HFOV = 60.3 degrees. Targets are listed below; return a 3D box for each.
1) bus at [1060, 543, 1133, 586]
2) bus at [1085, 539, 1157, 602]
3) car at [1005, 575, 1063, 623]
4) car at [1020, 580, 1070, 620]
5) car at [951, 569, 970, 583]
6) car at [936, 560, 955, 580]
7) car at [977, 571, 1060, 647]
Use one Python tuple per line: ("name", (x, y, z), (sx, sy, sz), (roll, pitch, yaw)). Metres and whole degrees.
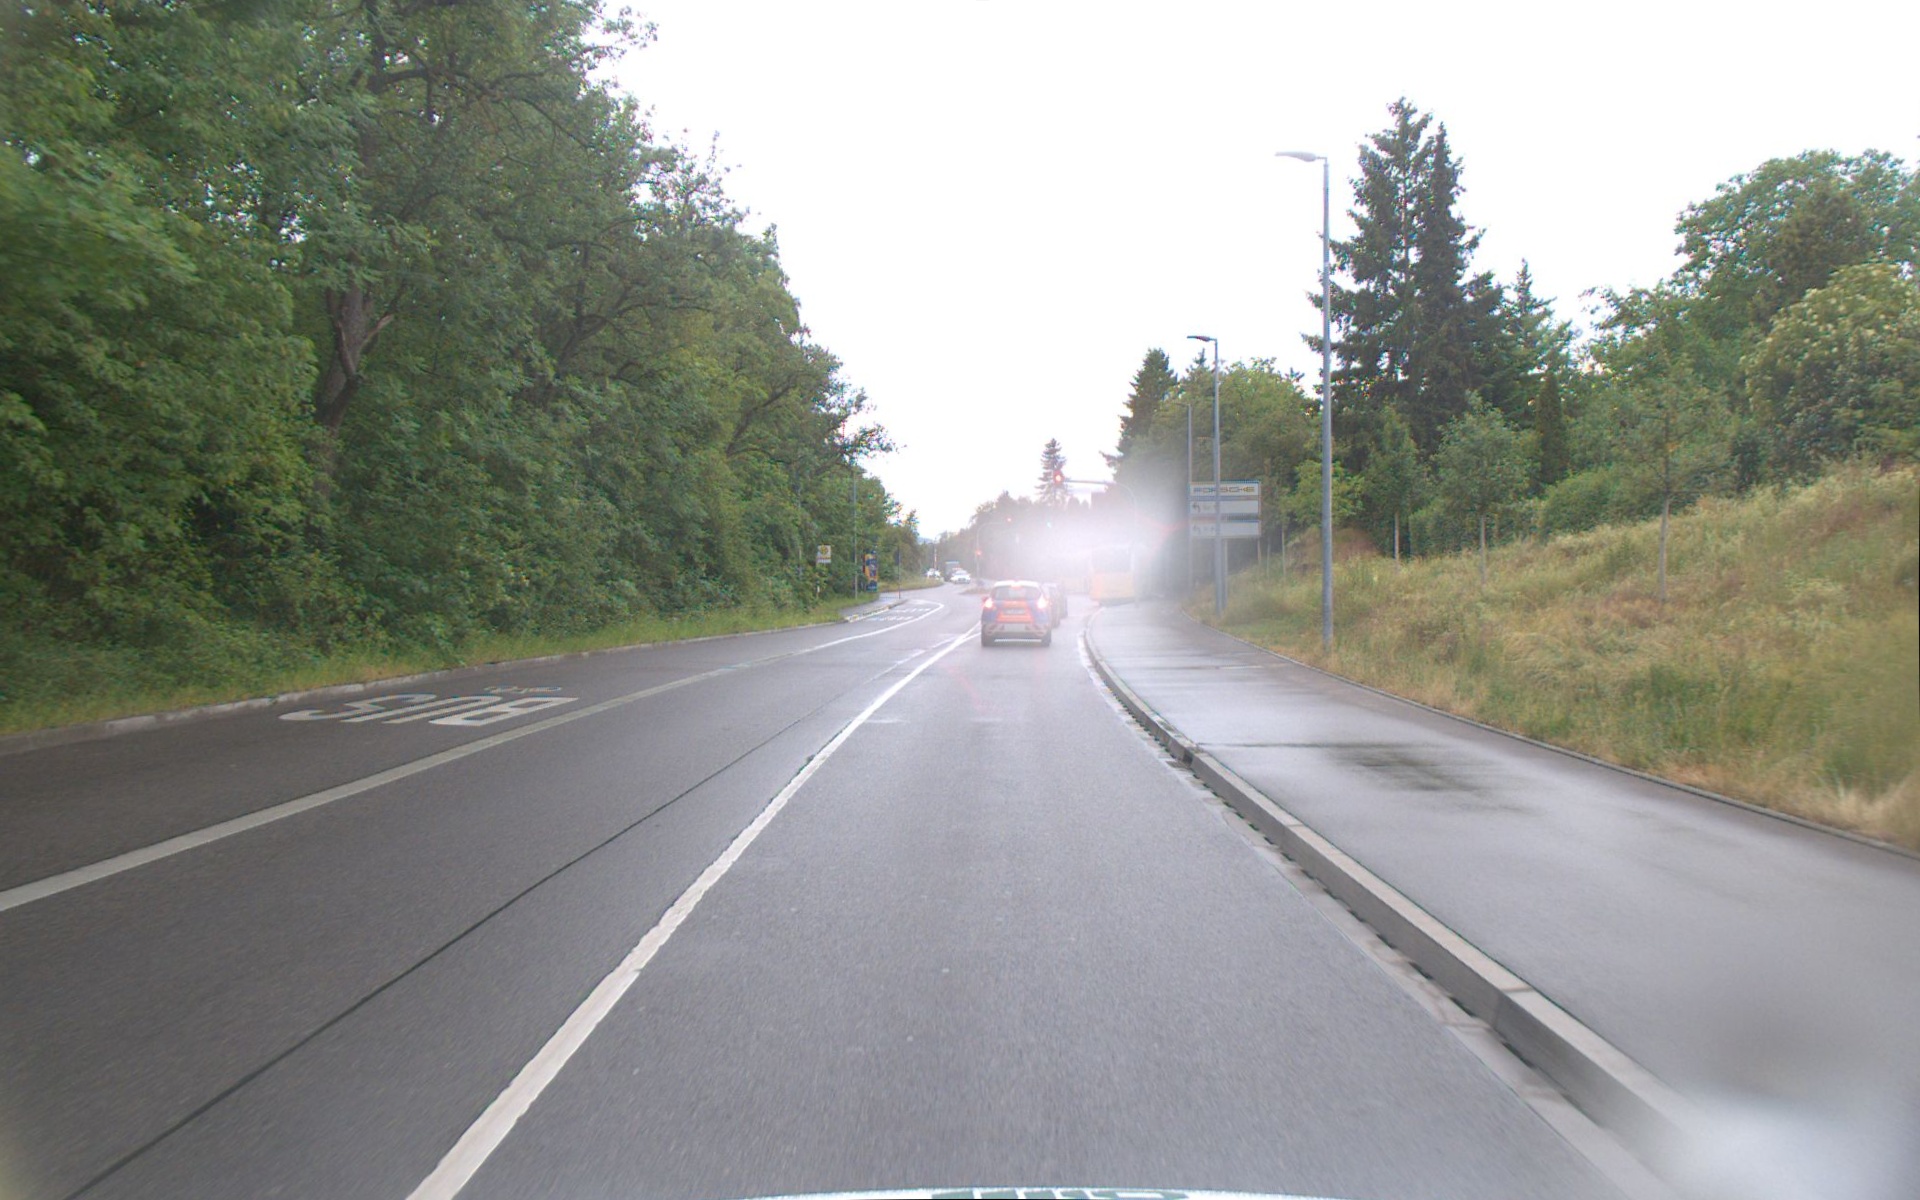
("bus", (9.770, -2.500, 119.728), (2.765, 2.855, 10.615), (0, 0, -10))
("bus", (8.730, -1.519, 88.836), (2.756, 3.197, 9.188), (0, 0, 12))
("car", (2.516, -0.072, 56.934), (1.887, 1.512, 3.801), (-1, 2, 1))
("car", (3.425, -0.007, 67.368), (1.952, 1.579, 4.001), (0, 0, 2))
("car", (0.016, -2.735, 189.287), (1.954, 1.445, 3.998), (0, 0, -3))
("car", (-1.911, -3.858, 213.546), (2.224, 2.376, 5.585), (0, 0, -3))
("car", (1.442, 0.180, 41.576), (1.952, 1.718, 4.001), (-1, 2, 1))
